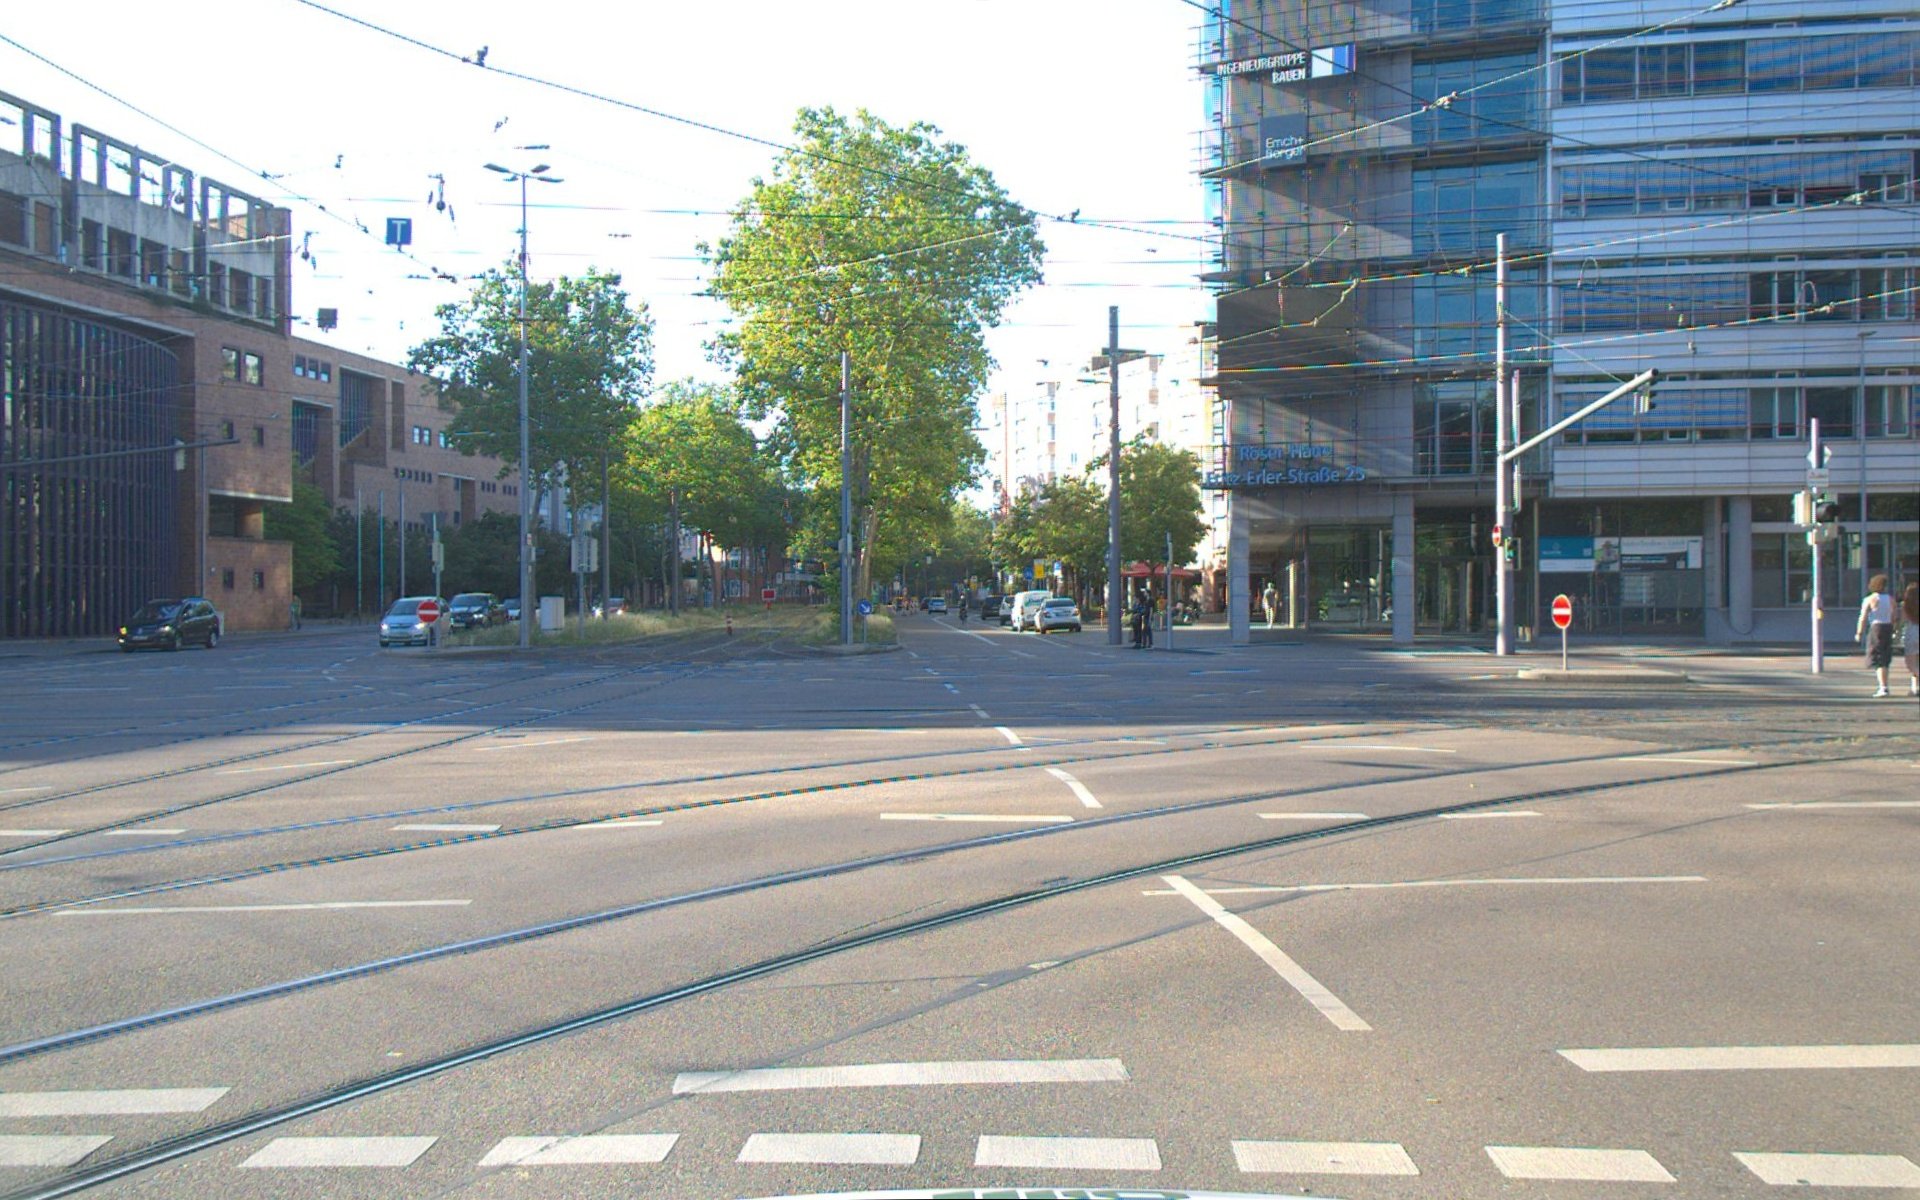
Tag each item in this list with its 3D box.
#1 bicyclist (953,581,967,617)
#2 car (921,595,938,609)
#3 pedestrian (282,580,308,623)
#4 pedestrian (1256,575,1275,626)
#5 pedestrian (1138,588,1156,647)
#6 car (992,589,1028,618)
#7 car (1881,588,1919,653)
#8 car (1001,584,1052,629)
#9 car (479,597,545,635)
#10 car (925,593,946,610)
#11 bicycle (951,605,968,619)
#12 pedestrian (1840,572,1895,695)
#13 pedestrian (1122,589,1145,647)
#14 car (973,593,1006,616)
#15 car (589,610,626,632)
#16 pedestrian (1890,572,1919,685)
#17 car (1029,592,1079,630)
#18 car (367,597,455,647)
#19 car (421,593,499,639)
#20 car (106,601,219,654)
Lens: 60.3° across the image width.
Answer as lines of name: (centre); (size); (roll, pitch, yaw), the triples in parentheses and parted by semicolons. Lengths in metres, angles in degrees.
bicyclist: (-0.005, -0.061, 95.467); (0.736, 2.049, 0.744); (0, 0, 6)
car: (-3.372, 0.212, 184.359); (1.815, 1.579, 4.325); (-1, 0, 0)
pedestrian: (-31.677, 0.077, 78.813); (0.877, 2.049, 0.758); (0, 0, 10)
pedestrian: (12.404, 0.029, 67.222); (0.659, 2.049, 0.515); (-1, 0, 0)
pedestrian: (5.878, 0.551, 52.020); (0.367, 1.856, 0.544); (0, 0, -18)
car: (2.834, 0.193, 93.737); (1.816, 1.579, 4.324); (-1, 0, -1)
car: (26.426, 0.548, 42.844); (4.069, 1.650, 1.906); (1, 0, 10)
car: (3.099, 0.303, 78.276); (1.954, 2.049, 4.381); (-1, 0, -4)
car: (-19.426, 0.666, 71.860); (1.816, 1.579, 4.323); (-1, 0, -2)
car: (-2.179, 0.124, 150.395); (1.815, 1.579, 4.325); (-1, 0, 0)
bicycle: (-0.033, 0.697, 95.423); (0.800, 0.788, 1.731); (-1, 0, 5)
pedestrian: (14.111, 0.508, 25.743); (0.683, 1.875, 0.966); (-1, 0, 26)
pedestrian: (5.536, 0.568, 52.775); (0.534, 1.856, 0.586); (0, 0, -18)
car: (2.057, 0.305, 115.375); (2.216, 1.579, 4.326); (-1, 0, 1)
car: (-21.078, 1.225, 98.768); (1.812, 1.243, 3.980); (0, 0, -18)
pedestrian: (14.781, 0.432, 25.560); (0.633, 1.717, 0.845); (-1, 0, 26)
car: (4.022, 0.442, 71.530); (1.816, 1.579, 4.324); (-1, 0, -1)
car: (-18.649, 0.720, 56.351); (1.695, 1.625, 4.323); (-1, 0, -2)
car: (-19.191, 0.603, 63.614); (1.816, 1.679, 4.323); (-1, 0, -2)
car: (-27.093, 0.907, 56.369); (1.797, 1.683, 4.498); (-1, 0, -2)
